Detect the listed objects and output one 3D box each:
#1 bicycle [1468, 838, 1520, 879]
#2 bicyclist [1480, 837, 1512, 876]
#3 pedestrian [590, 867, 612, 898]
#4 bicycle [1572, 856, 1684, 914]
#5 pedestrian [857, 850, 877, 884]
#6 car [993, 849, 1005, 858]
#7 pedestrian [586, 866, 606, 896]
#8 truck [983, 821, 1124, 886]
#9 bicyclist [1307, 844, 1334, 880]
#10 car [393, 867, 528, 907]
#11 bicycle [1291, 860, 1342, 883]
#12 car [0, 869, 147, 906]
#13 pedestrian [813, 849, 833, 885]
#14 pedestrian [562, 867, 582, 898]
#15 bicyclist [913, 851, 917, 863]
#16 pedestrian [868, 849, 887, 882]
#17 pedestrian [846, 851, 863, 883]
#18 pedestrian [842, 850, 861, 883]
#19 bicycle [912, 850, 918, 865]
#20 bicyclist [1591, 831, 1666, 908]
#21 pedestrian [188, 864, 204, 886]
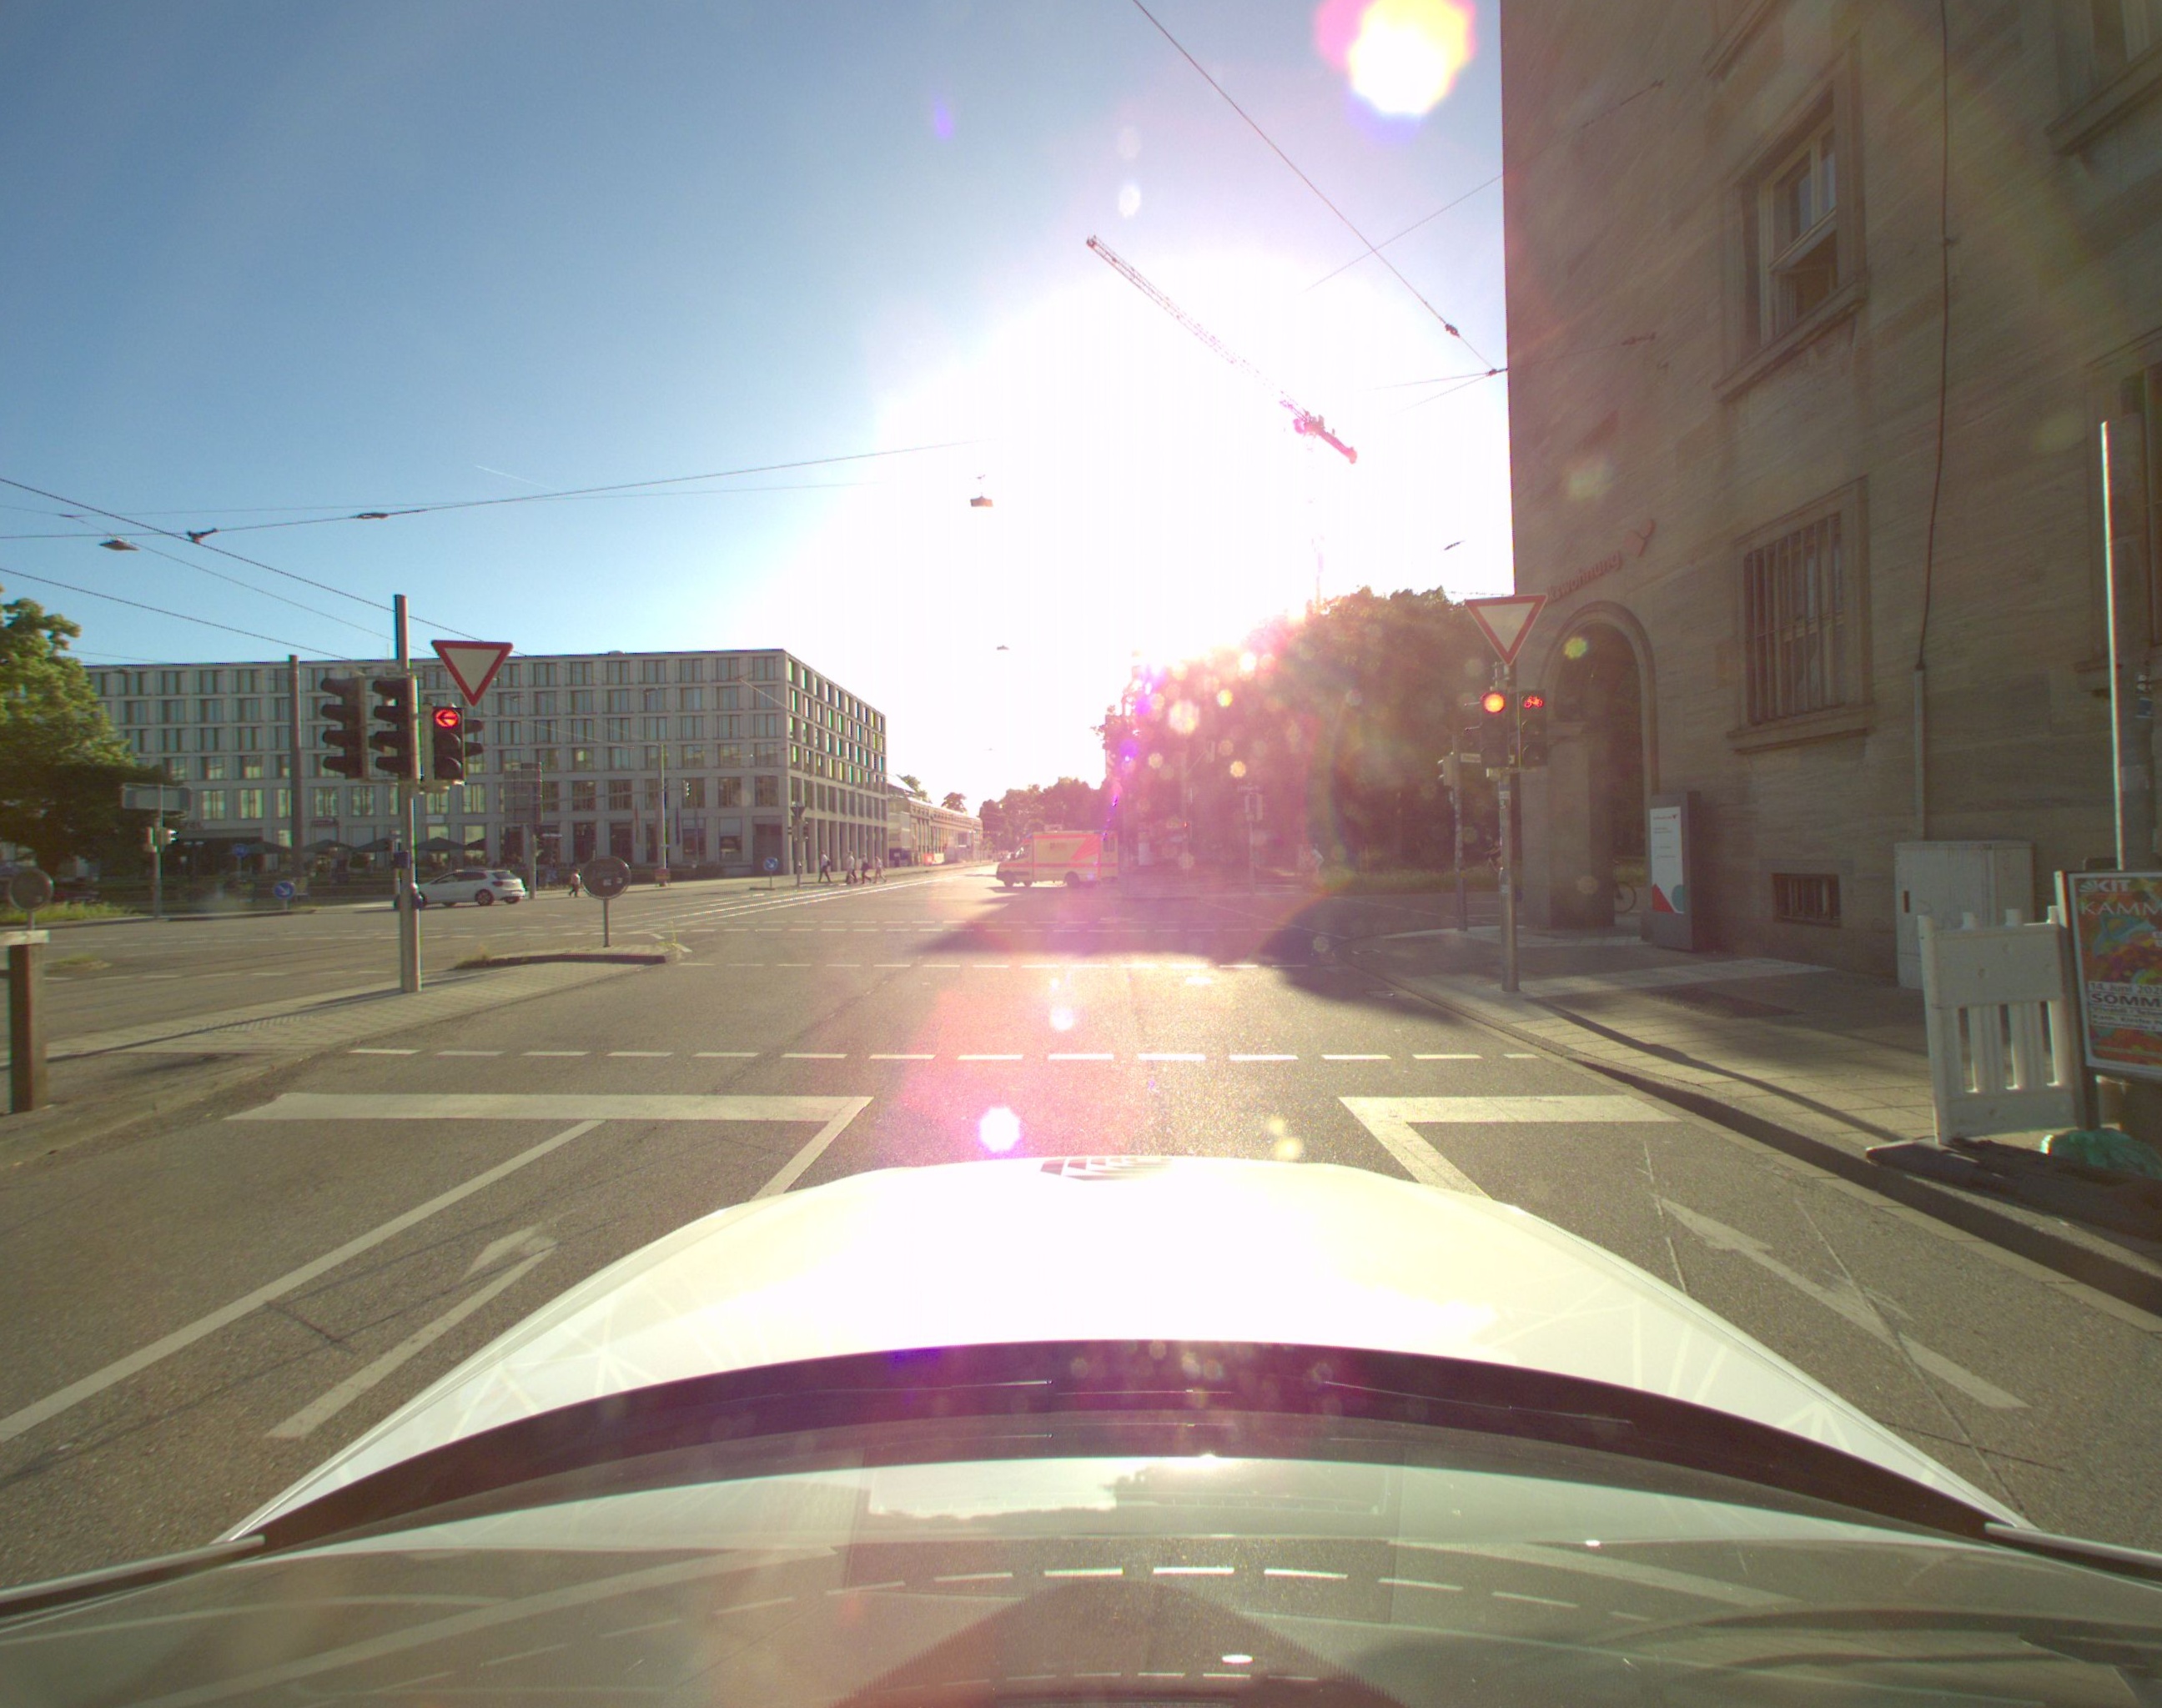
[{"bbox_3d":[18.024,0.193,35.555,1.888,1.735,0.598,-2,0,5],"label":"bicycle"},{"bbox_3d":[18.121,0.106,35.544,1.069,1.641,0.598,-2,0,5],"label":"bicyclist"},{"bbox_3d":[-26.245,1.532,44.536,0.790,1.644,0.621,-2,0,-3],"label":"pedestrian"},{"bbox_3d":[11.748,0.663,17.534,1.862,1.158,0.768,-1,2,8],"label":"bicycle"},{"bbox_3d":[-11.691,0.695,44.488,0.865,1.803,0.665,-2,0,7],"label":"pedestrian"},{"bbox_3d":[-15.780,-0.114,156.895,1.888,1.607,4.499,-2,0,0],"label":"car"},{"bbox_3d":[-27.031,1.517,45.368,0.692,1.644,0.621,-2,0,-3],"label":"pedestrian"},{"bbox_3d":[-1.378,0.021,40.358,6.407,3.016,2.742,-1,0,27],"label":"truck"},{"bbox_3d":[10.516,0.347,35.816,0.971,1.560,0.575,-2,0,0],"label":"bicyclist"},{"bbox_3d":[-24.628,1.309,32.424,4.031,1.434,1.631,-2,-2,-2],"label":"car"},{"bbox_3d":[10.359,0.773,35.826,2.057,0.933,0.575,-2,0,0],"label":"bicycle"},{"bbox_3d":[-42.032,1.395,33.516,4.721,1.415,1.999,-1,-2,-1],"label":"car"},{"bbox_3d":[-13.949,0.696,44.100,0.797,1.918,0.638,-2,0,7],"label":"pedestrian"},{"bbox_3d":[-27.900,1.553,44.669,0.687,1.644,0.625,-2,0,28],"label":"pedestrian"},{"bbox_3d":[-26.710,0.468,131.028,0.569,2.024,0.762,-2,0,0],"label":"bicyclist"},{"bbox_3d":[-11.371,0.630,45.580,0.865,1.803,0.533,-2,0,7],"label":"pedestrian"},{"bbox_3d":[-12.817,0.733,46.026,0.735,1.803,0.533,-2,0,7],"label":"pedestrian"},{"bbox_3d":[-12.670,0.696,44.980,0.735,1.803,0.717,-2,0,7],"label":"pedestrian"},{"bbox_3d":[-26.711,0.563,131.037,0.569,2.296,1.422,-2,0,0],"label":"bicycle"},{"bbox_3d":[11.752,0.319,17.512,1.117,1.594,0.768,-1,2,8],"label":"bicyclist"},{"bbox_3d":[-67.601,1.627,62.193,0.538,1.669,0.561,0,-1,-2],"label":"pedestrian"}]
